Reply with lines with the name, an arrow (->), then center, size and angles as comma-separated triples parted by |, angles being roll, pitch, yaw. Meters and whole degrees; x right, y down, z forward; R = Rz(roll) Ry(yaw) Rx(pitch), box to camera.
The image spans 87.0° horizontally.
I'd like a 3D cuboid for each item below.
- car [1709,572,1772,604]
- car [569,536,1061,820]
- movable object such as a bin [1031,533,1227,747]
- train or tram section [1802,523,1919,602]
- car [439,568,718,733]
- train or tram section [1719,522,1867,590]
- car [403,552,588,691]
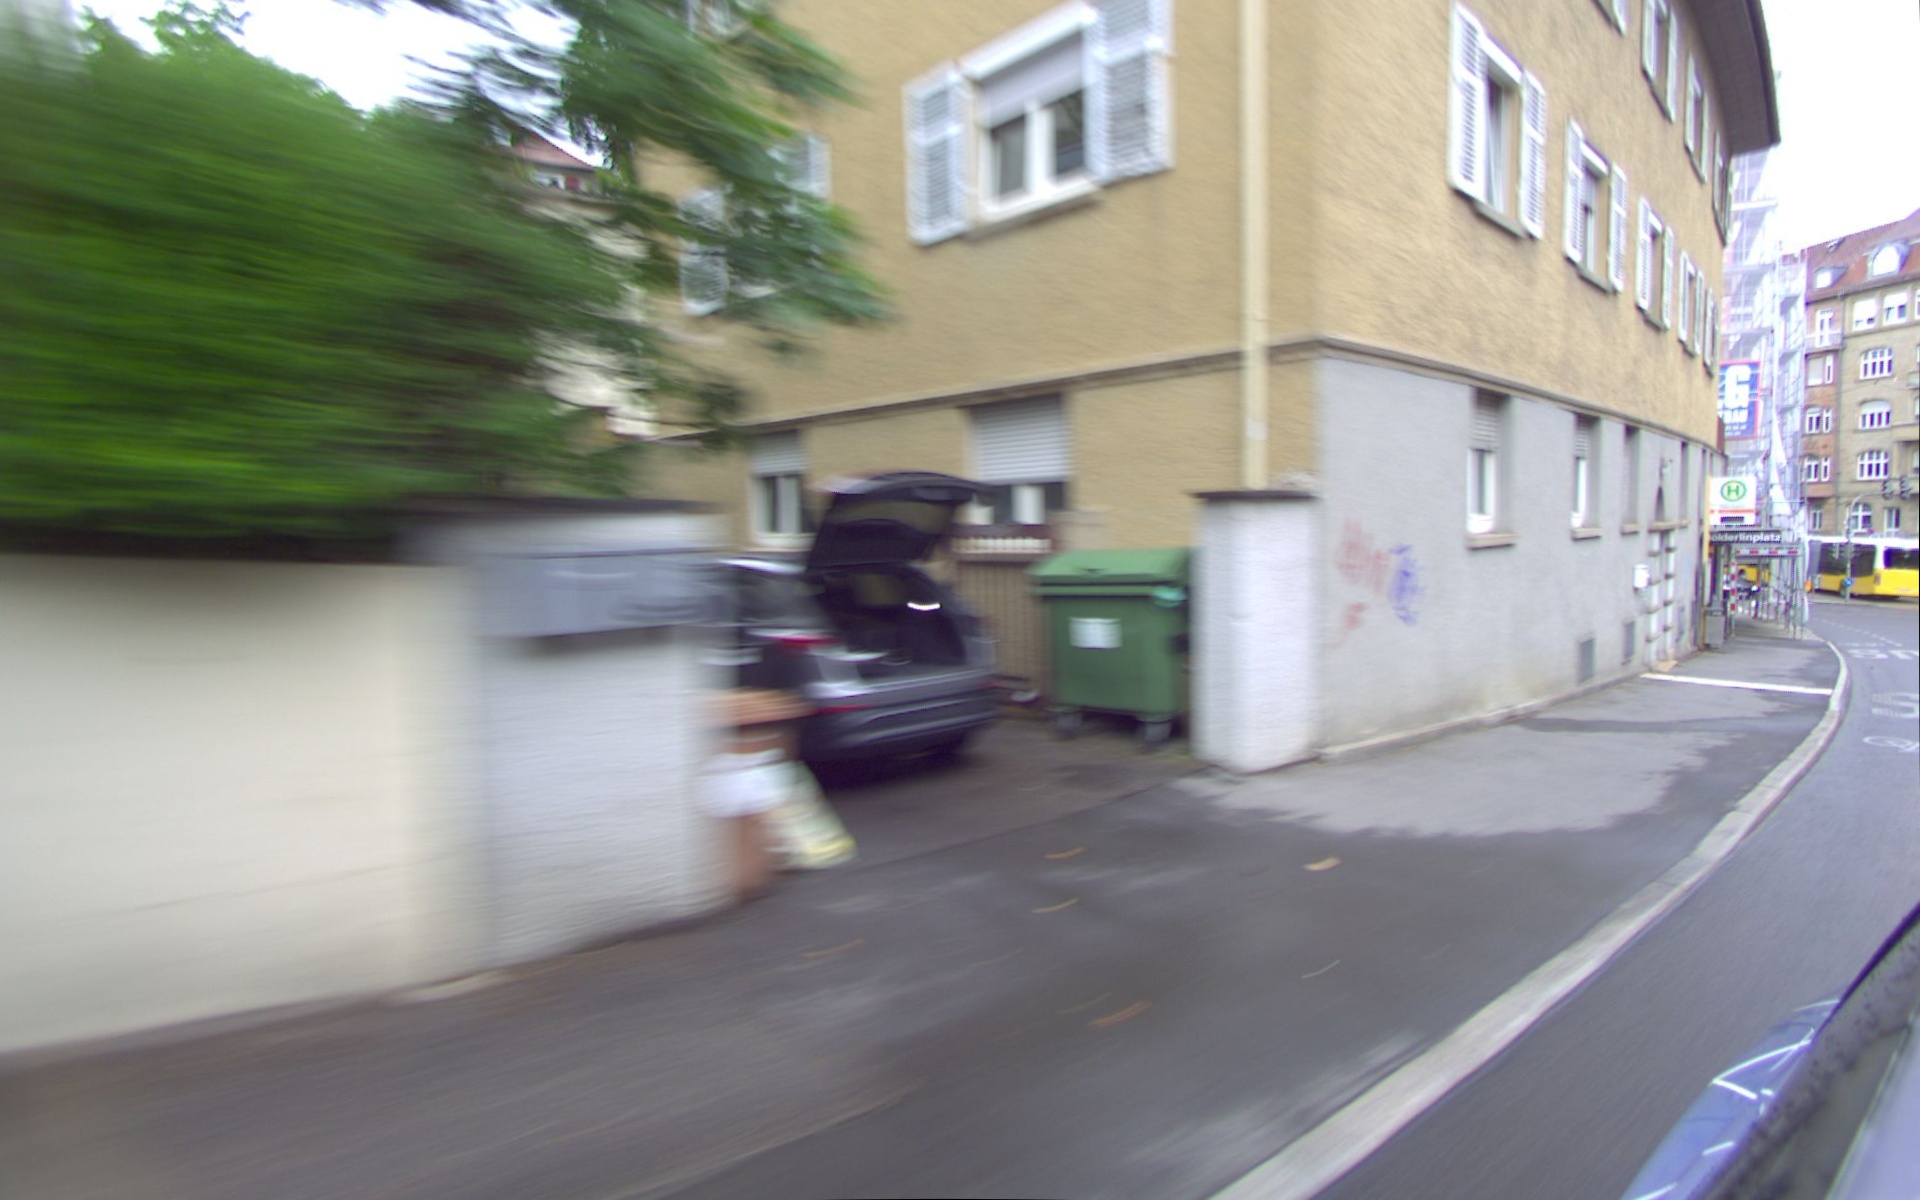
car -> 44.221, -0.690, 57.417 | 1.877, 1.717, 3.967 | -1, 0, 24
car -> -1.414, 0.387, 8.085 | 1.965, 1.594, 4.300 | -4, 3, -38
movable object such as a bin -> 1.275, 0.276, 7.724 | 0.812, 1.474, 1.252 | 0, -1, -44
train or tram section -> 52.513, -2.310, 58.042 | 3.049, 4.049, 9.756 | 1, 5, 19
car -> -4.848, 0.468, 12.472 | 1.965, 1.594, 4.300 | -4, 3, -38
train or tram section -> 55.087, -3.081, 67.390 | 3.039, 4.086, 9.789 | 0, 5, 10
car -> -7.501, 0.238, 16.102 | 1.962, 1.845, 4.305 | -3, 3, -34
